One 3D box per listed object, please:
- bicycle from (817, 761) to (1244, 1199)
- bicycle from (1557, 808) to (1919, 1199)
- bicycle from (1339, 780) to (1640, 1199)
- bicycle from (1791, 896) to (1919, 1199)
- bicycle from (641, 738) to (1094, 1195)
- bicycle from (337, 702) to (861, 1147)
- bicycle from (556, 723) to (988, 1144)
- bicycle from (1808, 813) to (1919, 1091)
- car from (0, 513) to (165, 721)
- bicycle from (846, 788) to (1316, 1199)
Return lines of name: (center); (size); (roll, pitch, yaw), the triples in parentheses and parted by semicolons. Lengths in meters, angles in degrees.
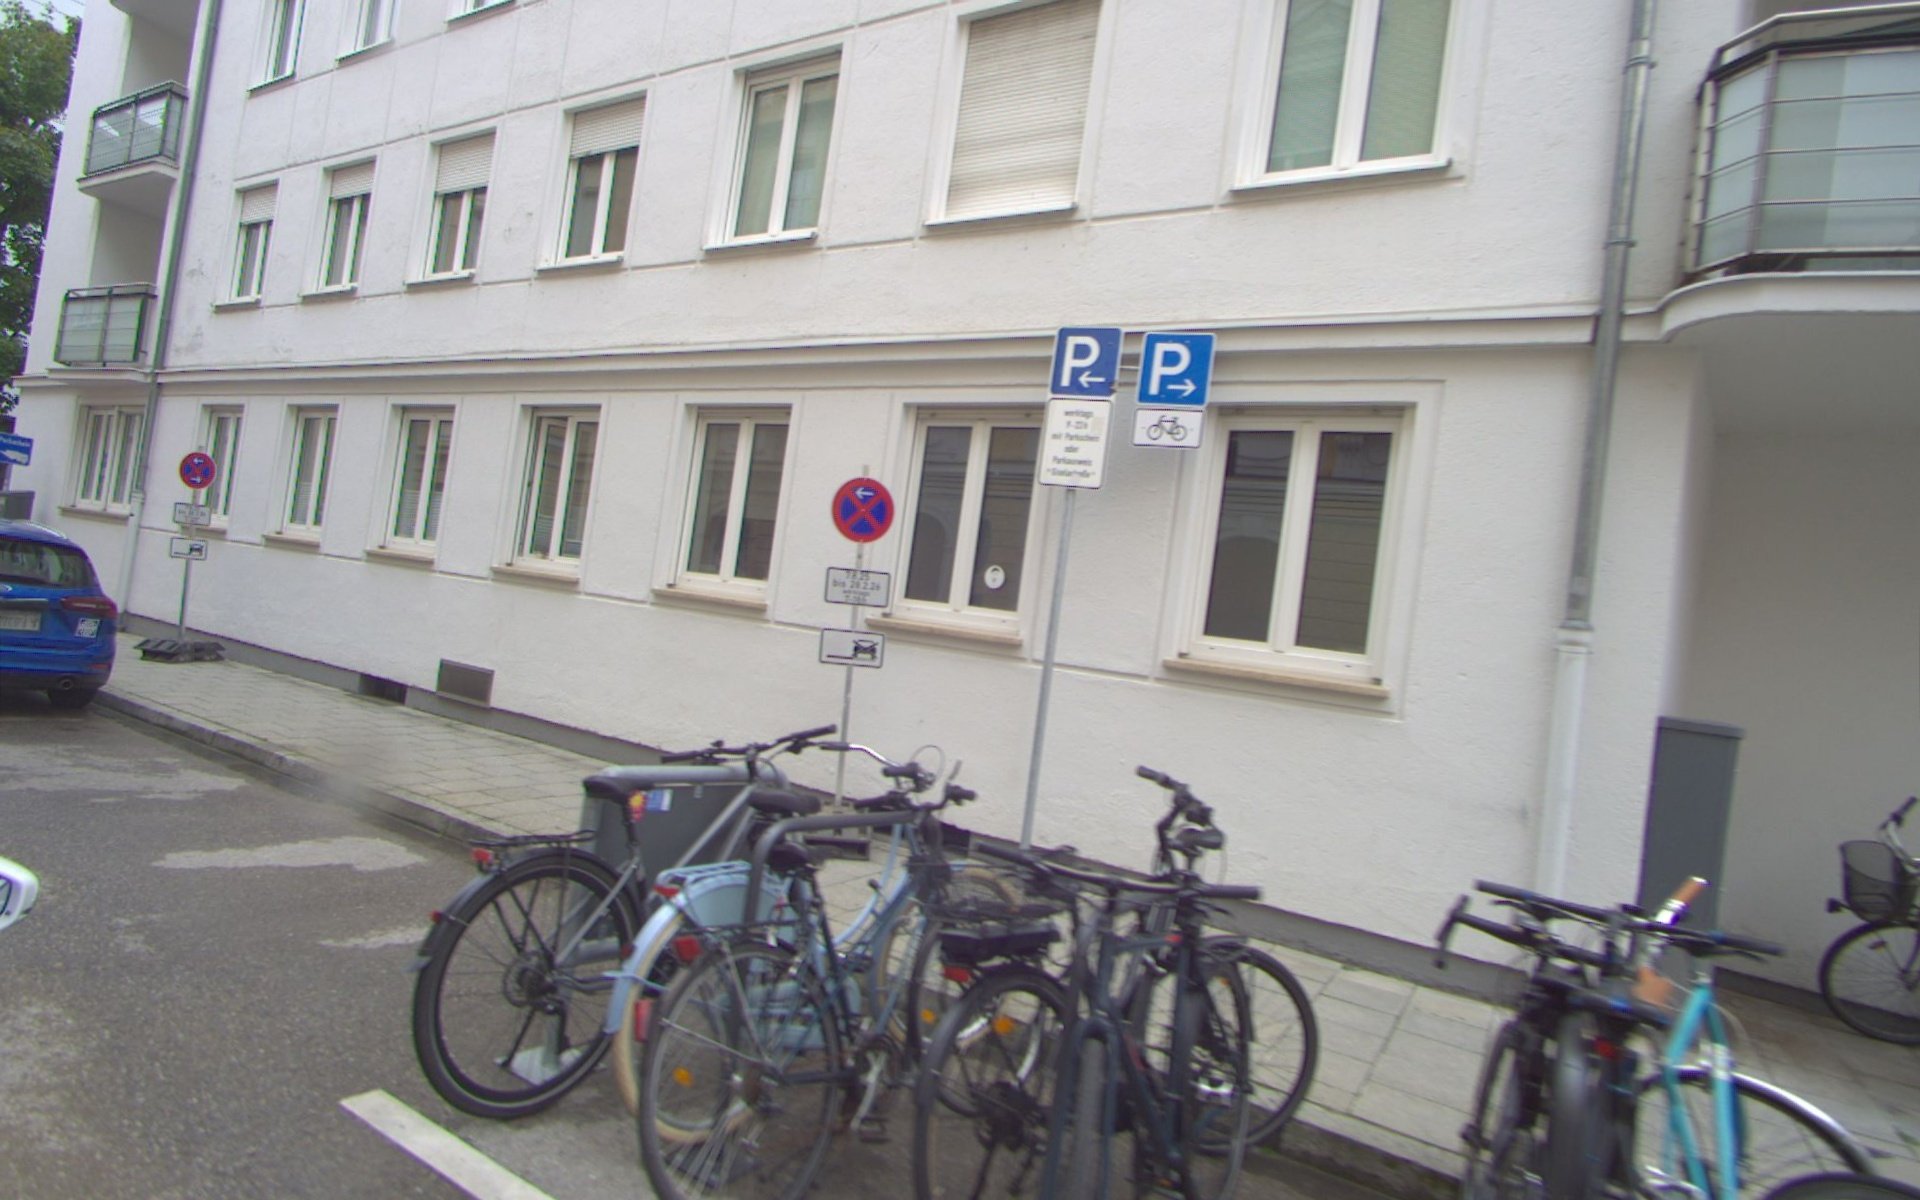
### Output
bicycle: (0.307, 1.061, 2.974); (0.355, 1.056, 1.516); (7, 0, 39)
bicycle: (1.513, 1.106, 2.050); (0.372, 1.174, 1.666); (7, -2, 30)
bicycle: (1.242, 1.088, 2.386); (0.372, 1.174, 1.699); (7, -2, 30)
bicycle: (1.795, 1.237, 1.635); (0.372, 1.174, 1.699); (7, -2, 30)
bicycle: (-0.181, 1.008, 3.209); (0.318, 1.056, 1.586); (7, 0, 39)
bicycle: (-1.040, 0.899, 3.351); (0.354, 1.056, 1.705); (7, 0, 32)
bicycle: (-0.526, 0.965, 3.323); (0.325, 1.056, 1.434); (7, 0, 39)
bicycle: (4.335, 1.583, 4.266); (0.391, 1.056, 1.502); (6, 0, 13)
car: (-8.673, -0.090, 8.358); (4.312, 1.454, 1.799); (6, -4, 33)
bicycle: (0.380, 1.060, 2.451); (0.355, 1.056, 1.437); (7, 0, 39)
